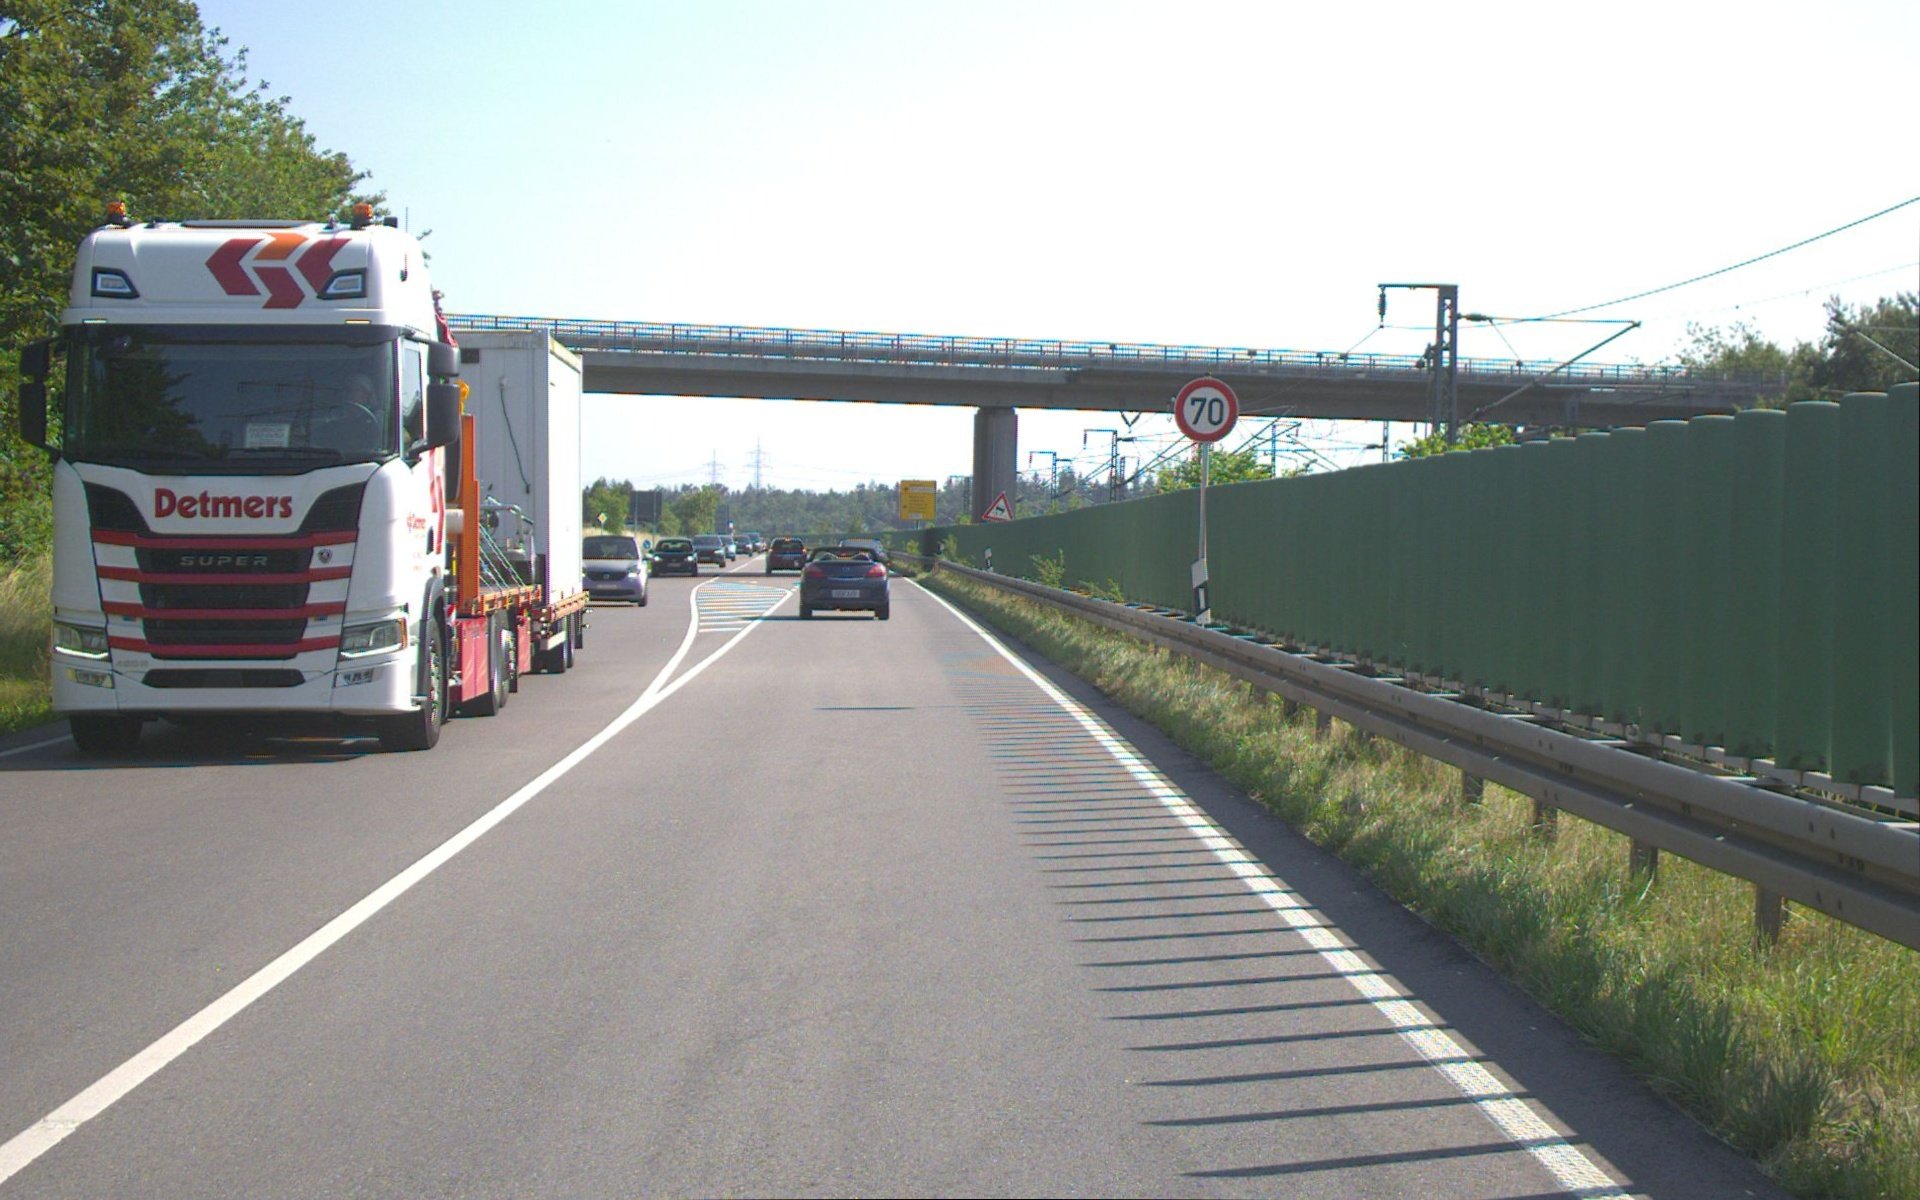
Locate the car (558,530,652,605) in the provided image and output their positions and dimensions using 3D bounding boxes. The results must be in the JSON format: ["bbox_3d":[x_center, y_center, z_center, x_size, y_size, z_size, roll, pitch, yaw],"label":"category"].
[{"bbox_3d":[-7.678,-0.727,74.543,1.856,1.554,4.001,0,1,-4],"label":"car"}]

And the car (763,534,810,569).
[{"bbox_3d":[-7.218,-2.024,143.152,1.895,1.413,4.000,1,1,-2],"label":"car"}]

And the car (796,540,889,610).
[{"bbox_3d":[-2.202,-0.485,64.526,1.663,1.257,4.000,1,1,-2],"label":"car"}]

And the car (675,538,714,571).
[{"bbox_3d":[-13.340,-2.310,172.564,1.922,1.587,4.431,1,1,-5],"label":"car"}]

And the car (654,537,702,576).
[{"bbox_3d":[-10.945,-1.707,133.591,1.749,1.476,4.001,1,1,-4],"label":"car"}]

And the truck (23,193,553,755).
[{"bbox_3d":[-5.049,-0.939,27.913,2.559,3.676,10.489,1,1,-2],"label":"truck"}]

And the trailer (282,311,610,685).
[{"bbox_3d":[-5.380,-1.068,37.326,2.559,3.583,8.293,1,1,-2],"label":"trailer"}]
